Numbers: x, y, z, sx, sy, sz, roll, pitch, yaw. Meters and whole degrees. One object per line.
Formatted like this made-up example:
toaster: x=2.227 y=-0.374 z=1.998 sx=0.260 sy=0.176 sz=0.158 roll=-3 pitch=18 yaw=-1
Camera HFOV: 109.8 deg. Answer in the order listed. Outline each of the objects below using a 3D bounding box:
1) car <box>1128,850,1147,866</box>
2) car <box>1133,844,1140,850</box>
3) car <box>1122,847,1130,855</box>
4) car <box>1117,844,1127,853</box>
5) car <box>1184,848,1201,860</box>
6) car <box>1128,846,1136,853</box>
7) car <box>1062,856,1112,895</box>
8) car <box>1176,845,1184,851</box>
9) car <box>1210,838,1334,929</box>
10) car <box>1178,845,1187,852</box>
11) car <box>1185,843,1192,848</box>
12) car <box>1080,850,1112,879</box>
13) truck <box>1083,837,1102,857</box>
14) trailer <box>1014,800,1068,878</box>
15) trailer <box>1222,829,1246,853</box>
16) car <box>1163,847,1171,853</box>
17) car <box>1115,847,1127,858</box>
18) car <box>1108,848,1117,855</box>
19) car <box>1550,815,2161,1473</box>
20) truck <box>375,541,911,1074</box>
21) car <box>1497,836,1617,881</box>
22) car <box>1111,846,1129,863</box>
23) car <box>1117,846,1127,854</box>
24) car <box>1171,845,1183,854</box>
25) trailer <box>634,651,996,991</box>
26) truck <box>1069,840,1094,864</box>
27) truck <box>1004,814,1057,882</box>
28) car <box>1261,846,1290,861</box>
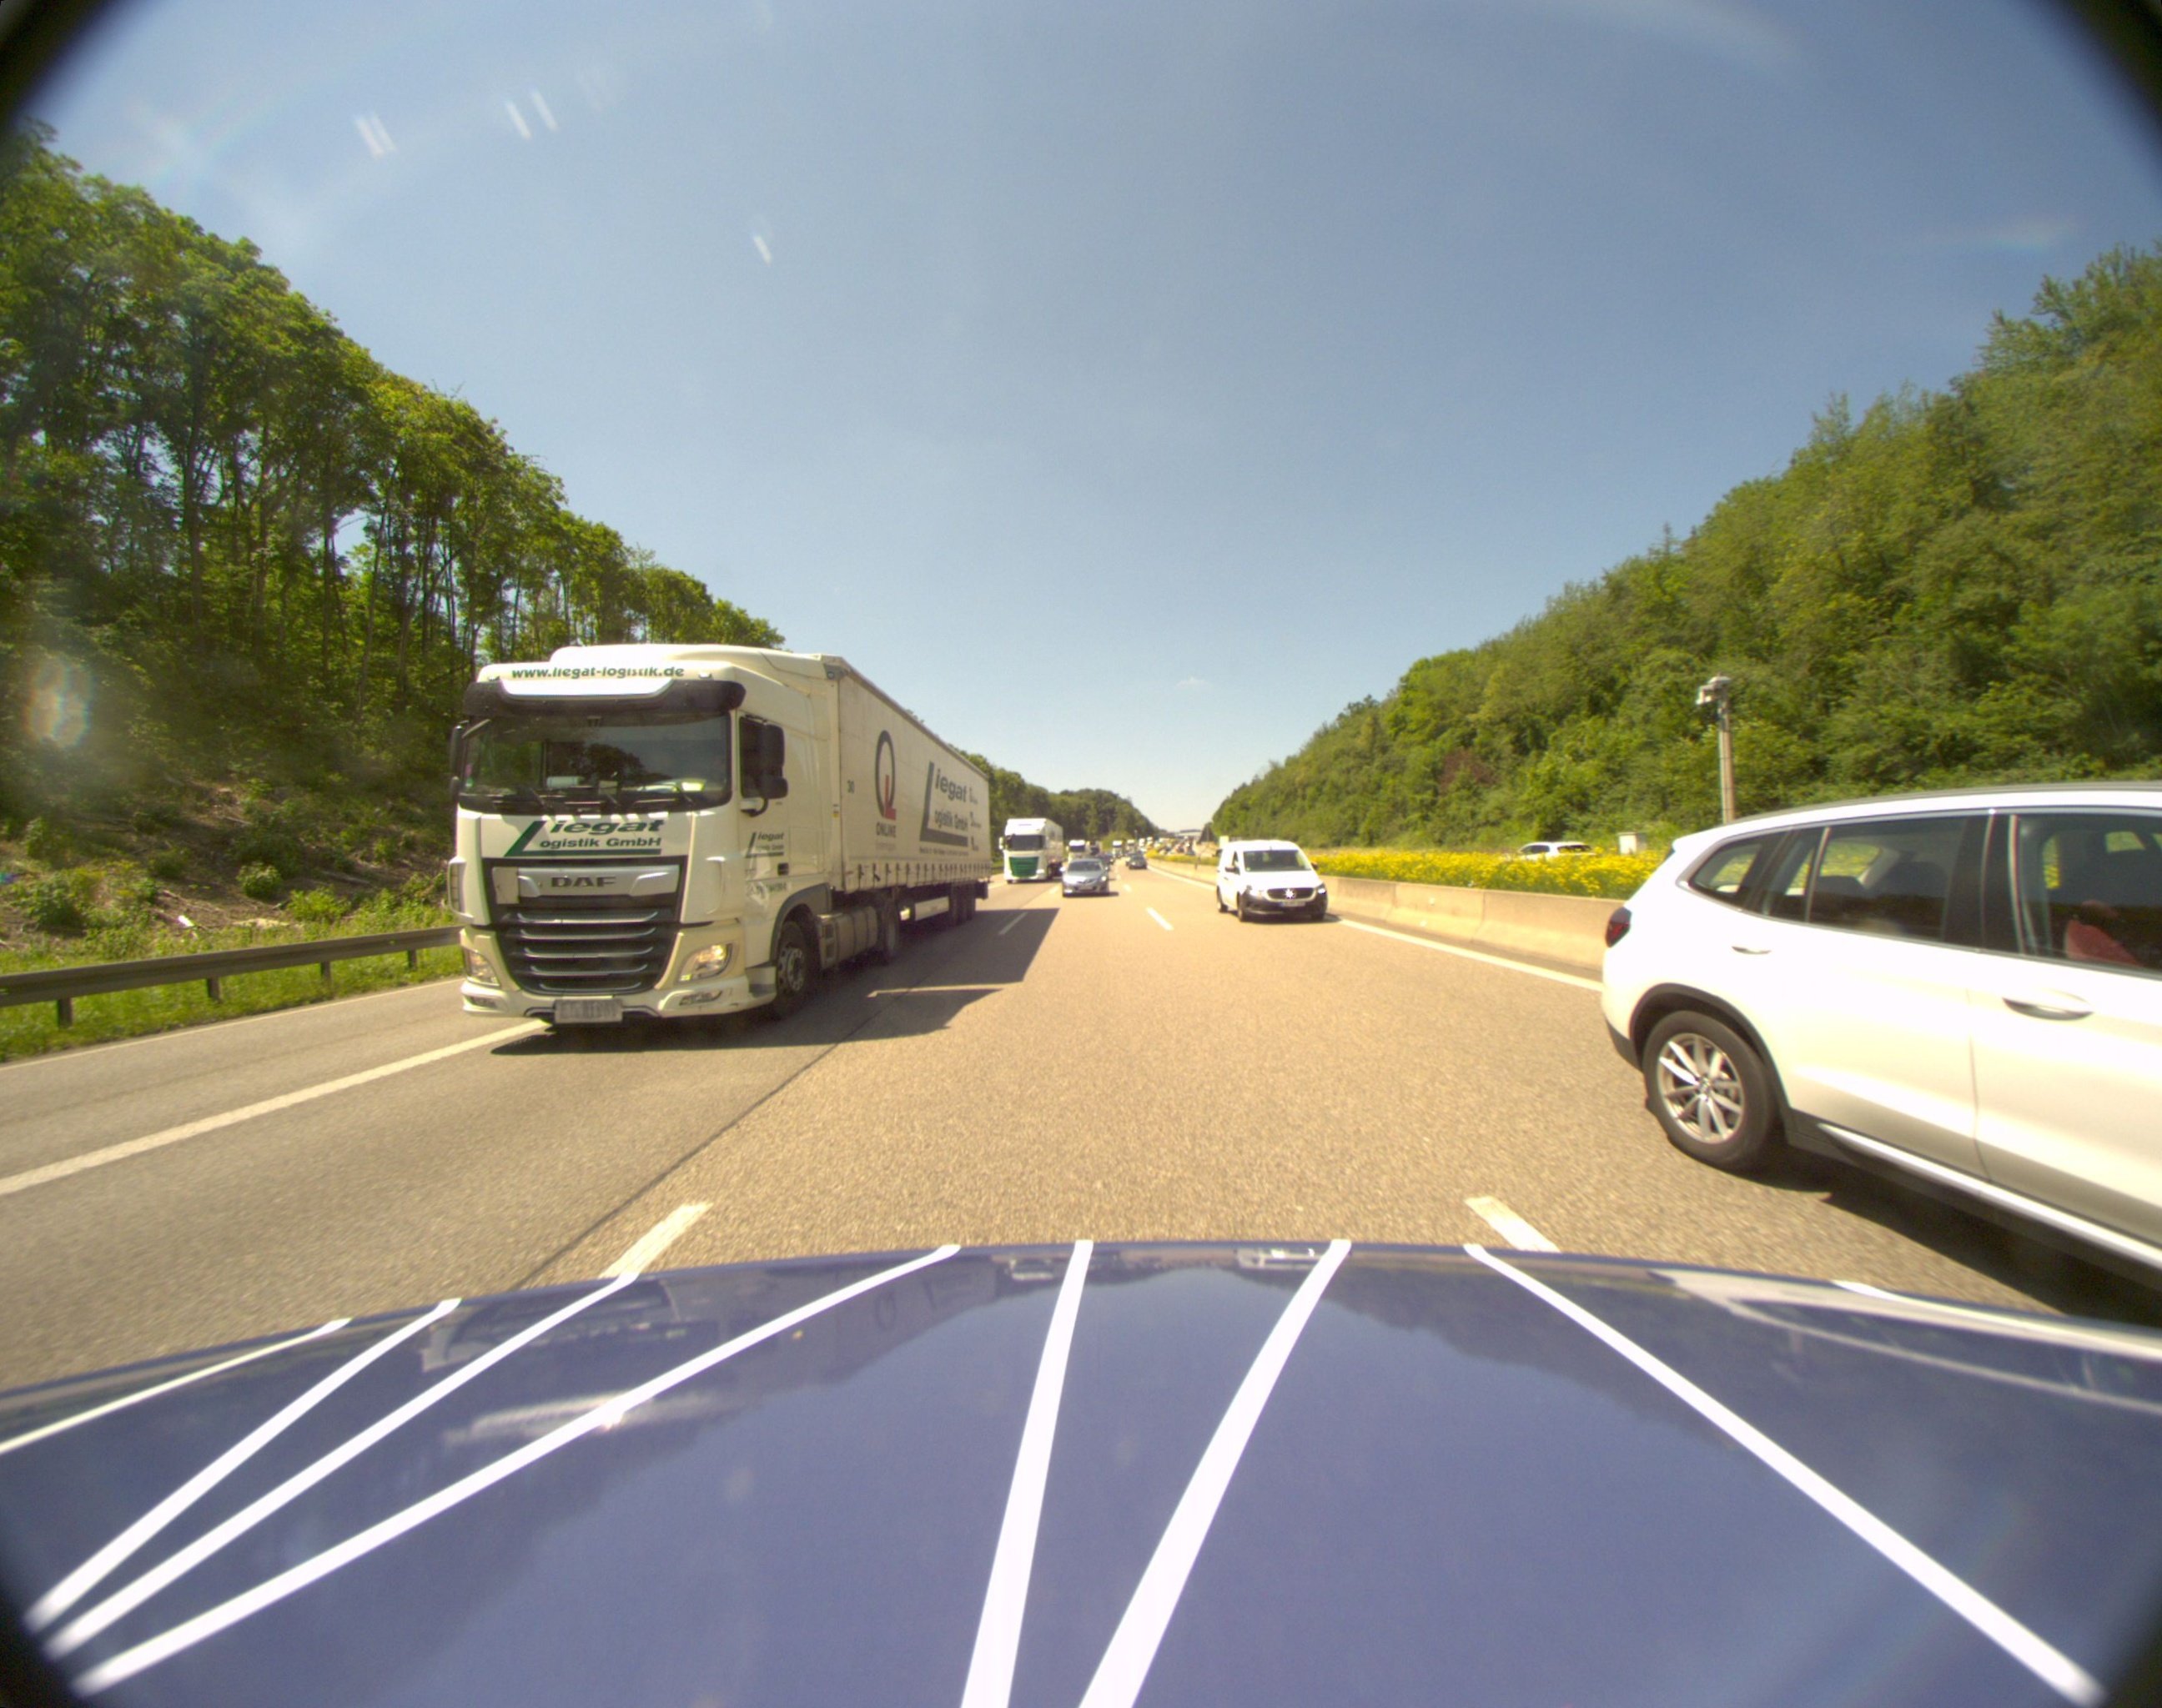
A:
car: x=5.671 y=0.369 z=76.511 sx=1.720 sy=1.470 sz=4.000 roll=-2 pitch=0 yaw=2
car: x=18.901 y=-2.341 z=259.011 sx=1.998 sy=1.728 sz=4.001 roll=-2 pitch=1 yaw=6
car: x=11.683 y=-0.775 z=196.292 sx=1.998 sy=1.728 sz=4.001 roll=-2 pitch=1 yaw=6
car: x=12.693 y=-1.783 z=235.726 sx=2.697 sy=2.467 sz=6.586 roll=-2 pitch=1 yaw=6
car: x=16.009 y=-0.019 z=108.962 sx=1.998 sy=1.477 sz=4.000 roll=-2 pitch=1 yaw=4
car: x=15.046 y=-1.298 z=223.660 sx=1.998 sy=1.728 sz=4.001 roll=-2 pitch=1 yaw=6
car: x=0.308 y=0.851 z=31.555 sx=1.887 sy=1.458 sz=4.248 roll=-2 pitch=0 yaw=2
car: x=30.983 y=-1.914 z=238.402 sx=1.998 sy=1.718 sz=4.000 roll=-2 pitch=0 yaw=3
car: x=4.305 y=0.603 z=17.864 sx=1.769 sy=1.802 sz=4.674 roll=-2 pitch=0 yaw=1
car: x=27.679 y=-1.513 z=207.308 sx=1.953 sy=1.632 sz=3.981 roll=-1 pitch=0 yaw=3
car: x=35.288 y=-2.759 z=249.729 sx=1.997 sy=1.499 sz=4.002 roll=-1 pitch=0 yaw=8
car: x=0.969 y=0.623 z=48.047 sx=1.887 sy=1.696 sz=4.085 roll=-2 pitch=0 yaw=2
truck: x=2.308 y=-1.390 z=149.293 sx=3.558 sy=3.695 sz=7.550 roll=-2 pitch=1 yaw=2
trailer: x=-2.740 y=-1.095 z=56.983 sx=2.574 sy=5.011 sz=15.271 roll=-2 pitch=1 yaw=2
trailer: x=29.061 y=-2.515 z=145.110 sx=2.721 sy=4.183 sz=13.934 roll=-2 pitch=1 yaw=4
car: x=22.725 y=-1.011 z=200.707 sx=1.998 sy=1.668 sz=4.081 roll=-1 pitch=0 yaw=2
car: x=6.963 y=-0.305 z=132.941 sx=1.998 sy=1.728 sz=4.000 roll=-2 pitch=1 yaw=4
car: x=8.225 y=-0.777 z=199.759 sx=1.998 sy=1.728 sz=4.001 roll=-2 pitch=1 yaw=6
car: x=3.681 y=0.717 z=1.948 sx=1.869 sy=1.684 sz=4.955 roll=-2 pitch=0 yaw=0
truck: x=-4.172 y=-0.345 z=9.035 sx=2.793 sy=4.180 sz=5.870 roll=-2 pitch=0 yaw=1
car: x=19.028 y=0.171 z=30.666 sx=1.998 sy=1.607 sz=4.483 roll=-2 pitch=0 yaw=0
car: x=4.912 y=0.006 z=96.687 sx=1.999 sy=2.002 sz=3.998 roll=-2 pitch=1 yaw=-2
car: x=9.067 y=-0.856 z=167.067 sx=1.998 sy=1.728 sz=4.000 roll=-2 pitch=1 yaw=4
car: x=18.100 y=-0.824 z=142.964 sx=1.998 sy=1.477 sz=4.000 roll=-2 pitch=1 yaw=4
trailer: x=-4.082 y=-0.358 z=16.176 sx=2.793 sy=4.180 sz=13.244 roll=-2 pitch=0 yaw=1
truck: x=0.172 y=-0.364 z=110.551 sx=3.262 sy=3.337 sz=6.863 roll=-2 pitch=1 yaw=3
truck: x=-3.108 y=-0.423 z=48.517 sx=2.541 sy=4.006 sz=6.625 roll=-2 pitch=1 yaw=3
car: x=20.451 y=-0.107 z=80.018 sx=1.998 sy=1.434 sz=4.171 roll=-2 pitch=1 yaw=1
